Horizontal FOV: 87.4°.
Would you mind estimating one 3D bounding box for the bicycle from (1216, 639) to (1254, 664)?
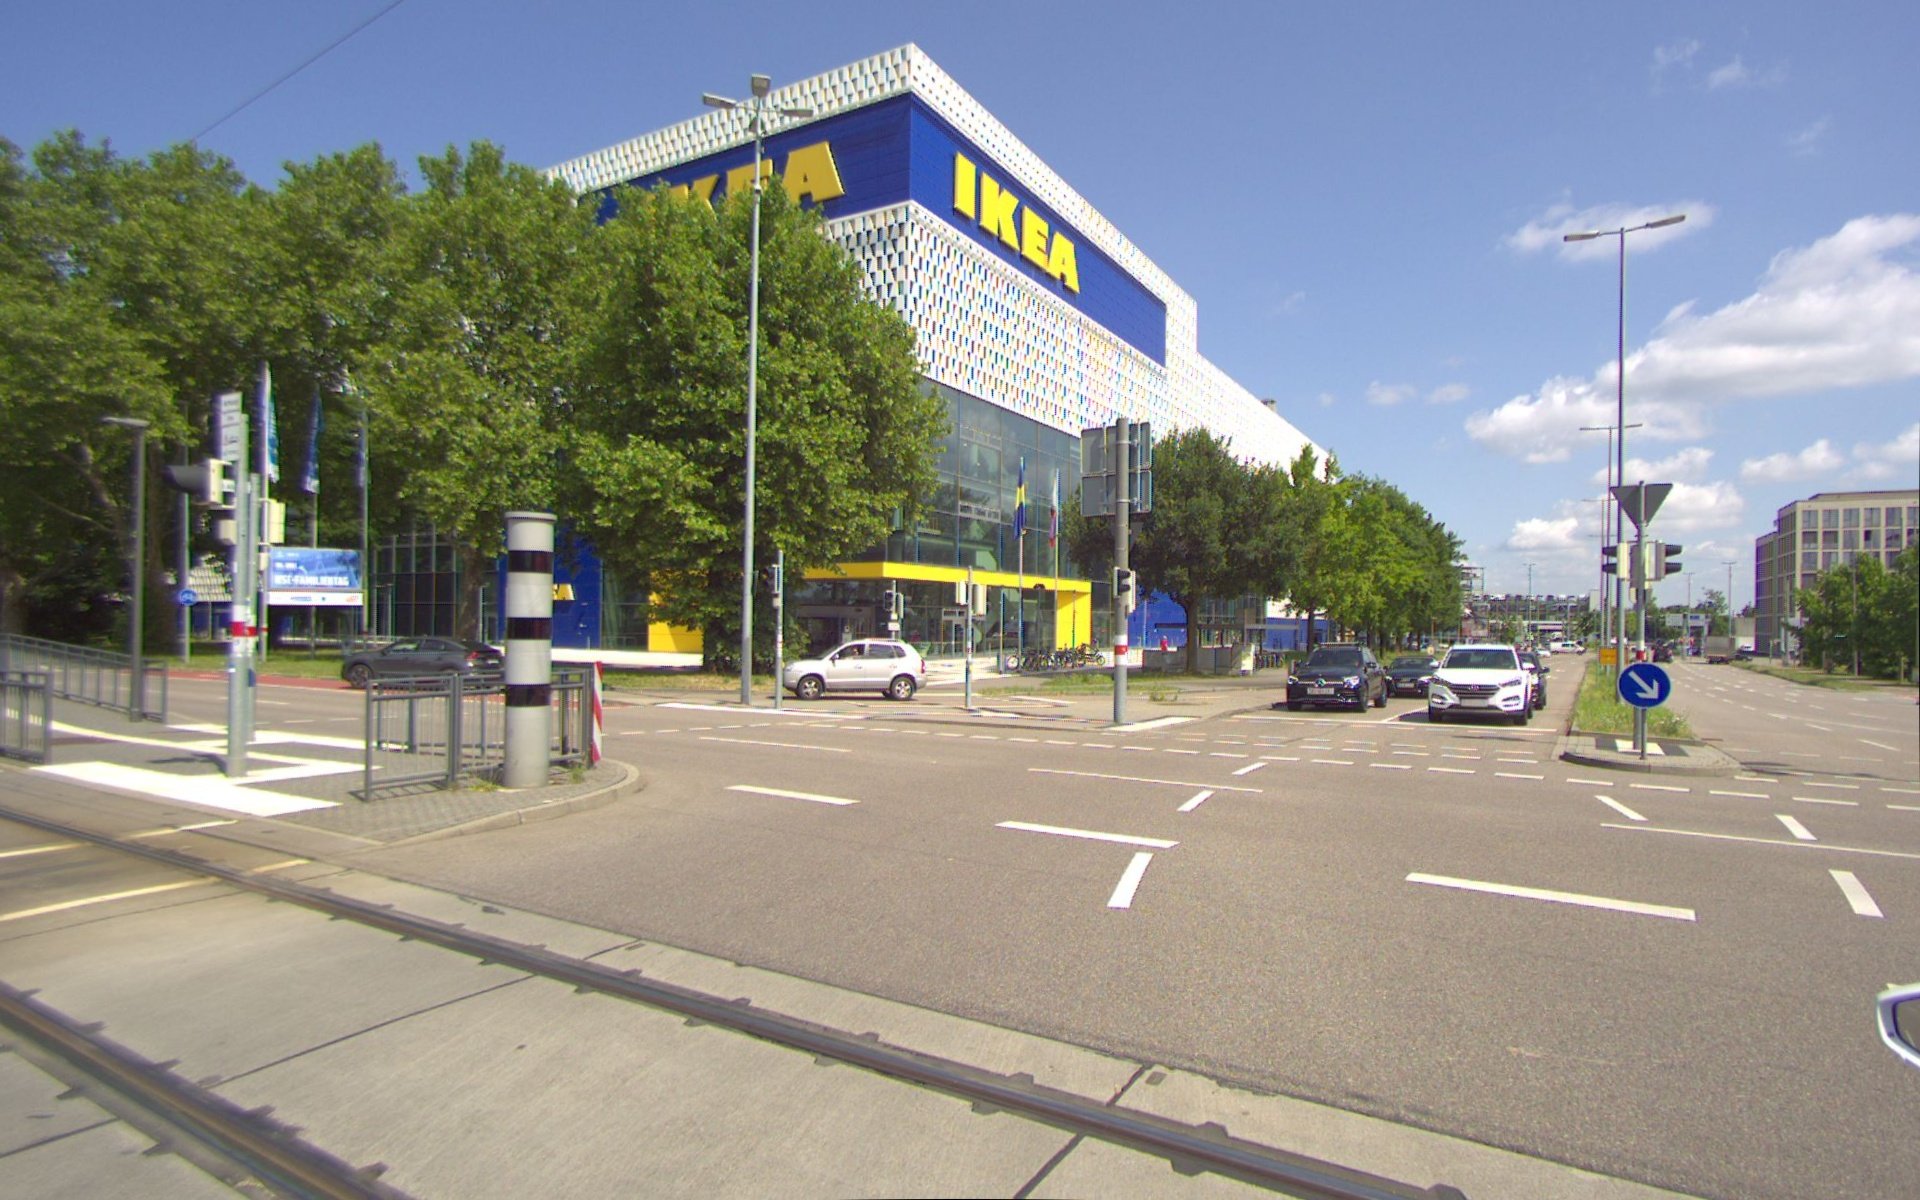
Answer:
[{"bbox_3d":[15.492,2.876,56.611,1.898,1.289,0.628,2,0,33],"label":"bicycle"}]

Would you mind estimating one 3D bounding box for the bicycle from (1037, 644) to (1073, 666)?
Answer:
[{"bbox_3d":[5.193,2.997,54.855,1.905,1.084,0.528,1,-1,29],"label":"bicycle"}]

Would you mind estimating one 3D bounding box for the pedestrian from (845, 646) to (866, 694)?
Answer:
[{"bbox_3d":[-3.354,2.245,32.366,0.430,1.510,0.620,1,-1,16],"label":"pedestrian"}]

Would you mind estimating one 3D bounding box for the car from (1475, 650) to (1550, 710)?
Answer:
[{"bbox_3d":[15.391,2.165,27.897,1.581,1.513,4.123,-1,-3,32],"label":"car"}]

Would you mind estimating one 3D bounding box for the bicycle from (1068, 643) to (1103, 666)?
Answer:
[{"bbox_3d":[7.281,3.153,58.164,1.905,1.225,0.528,1,-1,29],"label":"bicycle"}]

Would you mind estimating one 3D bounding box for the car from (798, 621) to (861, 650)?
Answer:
[{"bbox_3d":[-9.388,2.548,72.241,4.126,2.040,1.997,-1,-2,28],"label":"car"}]

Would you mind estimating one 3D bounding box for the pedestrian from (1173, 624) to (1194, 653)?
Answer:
[{"bbox_3d":[13.849,2.379,62.180,0.937,1.725,0.885,2,-1,33],"label":"pedestrian"}]

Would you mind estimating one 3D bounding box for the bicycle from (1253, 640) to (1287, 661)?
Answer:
[{"bbox_3d":[19.358,3.152,62.692,1.898,1.199,0.628,2,0,33],"label":"bicycle"}]

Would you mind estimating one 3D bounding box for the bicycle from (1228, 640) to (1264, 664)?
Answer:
[{"bbox_3d":[16.685,3.016,58.624,1.898,1.289,0.628,2,0,33],"label":"bicycle"}]

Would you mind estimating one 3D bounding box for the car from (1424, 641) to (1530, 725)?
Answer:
[{"bbox_3d":[11.411,1.758,22.027,1.684,1.640,4.368,-1,-4,32],"label":"car"}]

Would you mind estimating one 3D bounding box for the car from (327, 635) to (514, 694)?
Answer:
[{"bbox_3d":[-15.031,1.781,28.133,4.165,1.396,2.023,2,0,6],"label":"car"}]

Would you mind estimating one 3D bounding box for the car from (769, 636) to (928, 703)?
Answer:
[{"bbox_3d":[-3.216,1.966,28.743,4.185,1.746,2.014,2,0,-19],"label":"car"}]

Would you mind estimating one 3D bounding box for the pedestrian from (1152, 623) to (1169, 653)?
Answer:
[{"bbox_3d":[12.568,2.396,63.005,0.743,1.846,0.885,2,-1,33],"label":"pedestrian"}]

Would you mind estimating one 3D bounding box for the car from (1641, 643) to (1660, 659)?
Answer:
[{"bbox_3d":[87.538,6.426,127.338,1.797,1.833,3.985,2,0,38],"label":"car"}]

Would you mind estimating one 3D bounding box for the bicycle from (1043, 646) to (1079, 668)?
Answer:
[{"bbox_3d":[5.609,3.146,55.799,1.901,1.104,0.519,2,0,29],"label":"bicycle"}]

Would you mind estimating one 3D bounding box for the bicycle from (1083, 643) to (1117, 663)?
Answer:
[{"bbox_3d":[8.394,3.164,60.168,1.902,1.145,0.563,0,-2,29],"label":"bicycle"}]

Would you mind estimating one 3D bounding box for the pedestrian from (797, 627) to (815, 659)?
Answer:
[{"bbox_3d":[-8.664,2.397,56.434,0.881,1.729,0.710,2,-1,-4],"label":"pedestrian"}]

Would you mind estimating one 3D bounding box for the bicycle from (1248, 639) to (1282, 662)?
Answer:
[{"bbox_3d":[18.694,3.082,61.617,1.898,1.289,0.628,2,0,33],"label":"bicycle"}]

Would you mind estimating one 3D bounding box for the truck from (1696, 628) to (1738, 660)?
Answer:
[{"bbox_3d":[101.727,5.870,134.953,8.799,3.993,3.098,2,0,-44],"label":"truck"}]

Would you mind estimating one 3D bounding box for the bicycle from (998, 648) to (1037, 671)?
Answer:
[{"bbox_3d":[2.908,2.997,50.602,1.905,1.084,0.528,1,-1,29],"label":"bicycle"}]

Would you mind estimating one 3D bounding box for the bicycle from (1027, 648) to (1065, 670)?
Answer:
[{"bbox_3d":[4.573,3.150,53.417,1.905,1.084,0.528,1,-1,29],"label":"bicycle"}]

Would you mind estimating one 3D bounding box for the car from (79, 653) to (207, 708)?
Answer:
[{"bbox_3d":[-27.471,2.661,33.770,3.928,1.617,1.997,0,-2,29],"label":"car"}]

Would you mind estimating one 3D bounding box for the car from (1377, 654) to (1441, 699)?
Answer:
[{"bbox_3d":[15.245,2.557,34.025,1.392,1.410,4.086,-2,-3,32],"label":"car"}]

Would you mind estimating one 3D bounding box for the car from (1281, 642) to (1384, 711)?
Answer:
[{"bbox_3d":[9.704,1.960,25.993,1.745,1.636,3.992,-2,-4,32],"label":"car"}]

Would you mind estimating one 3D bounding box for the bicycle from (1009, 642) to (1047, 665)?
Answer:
[{"bbox_3d":[3.515,2.778,51.996,1.905,1.084,0.528,1,-1,29],"label":"bicycle"}]

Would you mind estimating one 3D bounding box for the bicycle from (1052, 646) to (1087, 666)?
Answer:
[{"bbox_3d":[6.179,3.165,56.810,1.905,1.084,0.528,1,-1,29],"label":"bicycle"}]

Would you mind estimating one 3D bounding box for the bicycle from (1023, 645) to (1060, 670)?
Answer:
[{"bbox_3d":[4.289,3.015,52.884,1.926,1.188,0.467,2,0,29],"label":"bicycle"}]
